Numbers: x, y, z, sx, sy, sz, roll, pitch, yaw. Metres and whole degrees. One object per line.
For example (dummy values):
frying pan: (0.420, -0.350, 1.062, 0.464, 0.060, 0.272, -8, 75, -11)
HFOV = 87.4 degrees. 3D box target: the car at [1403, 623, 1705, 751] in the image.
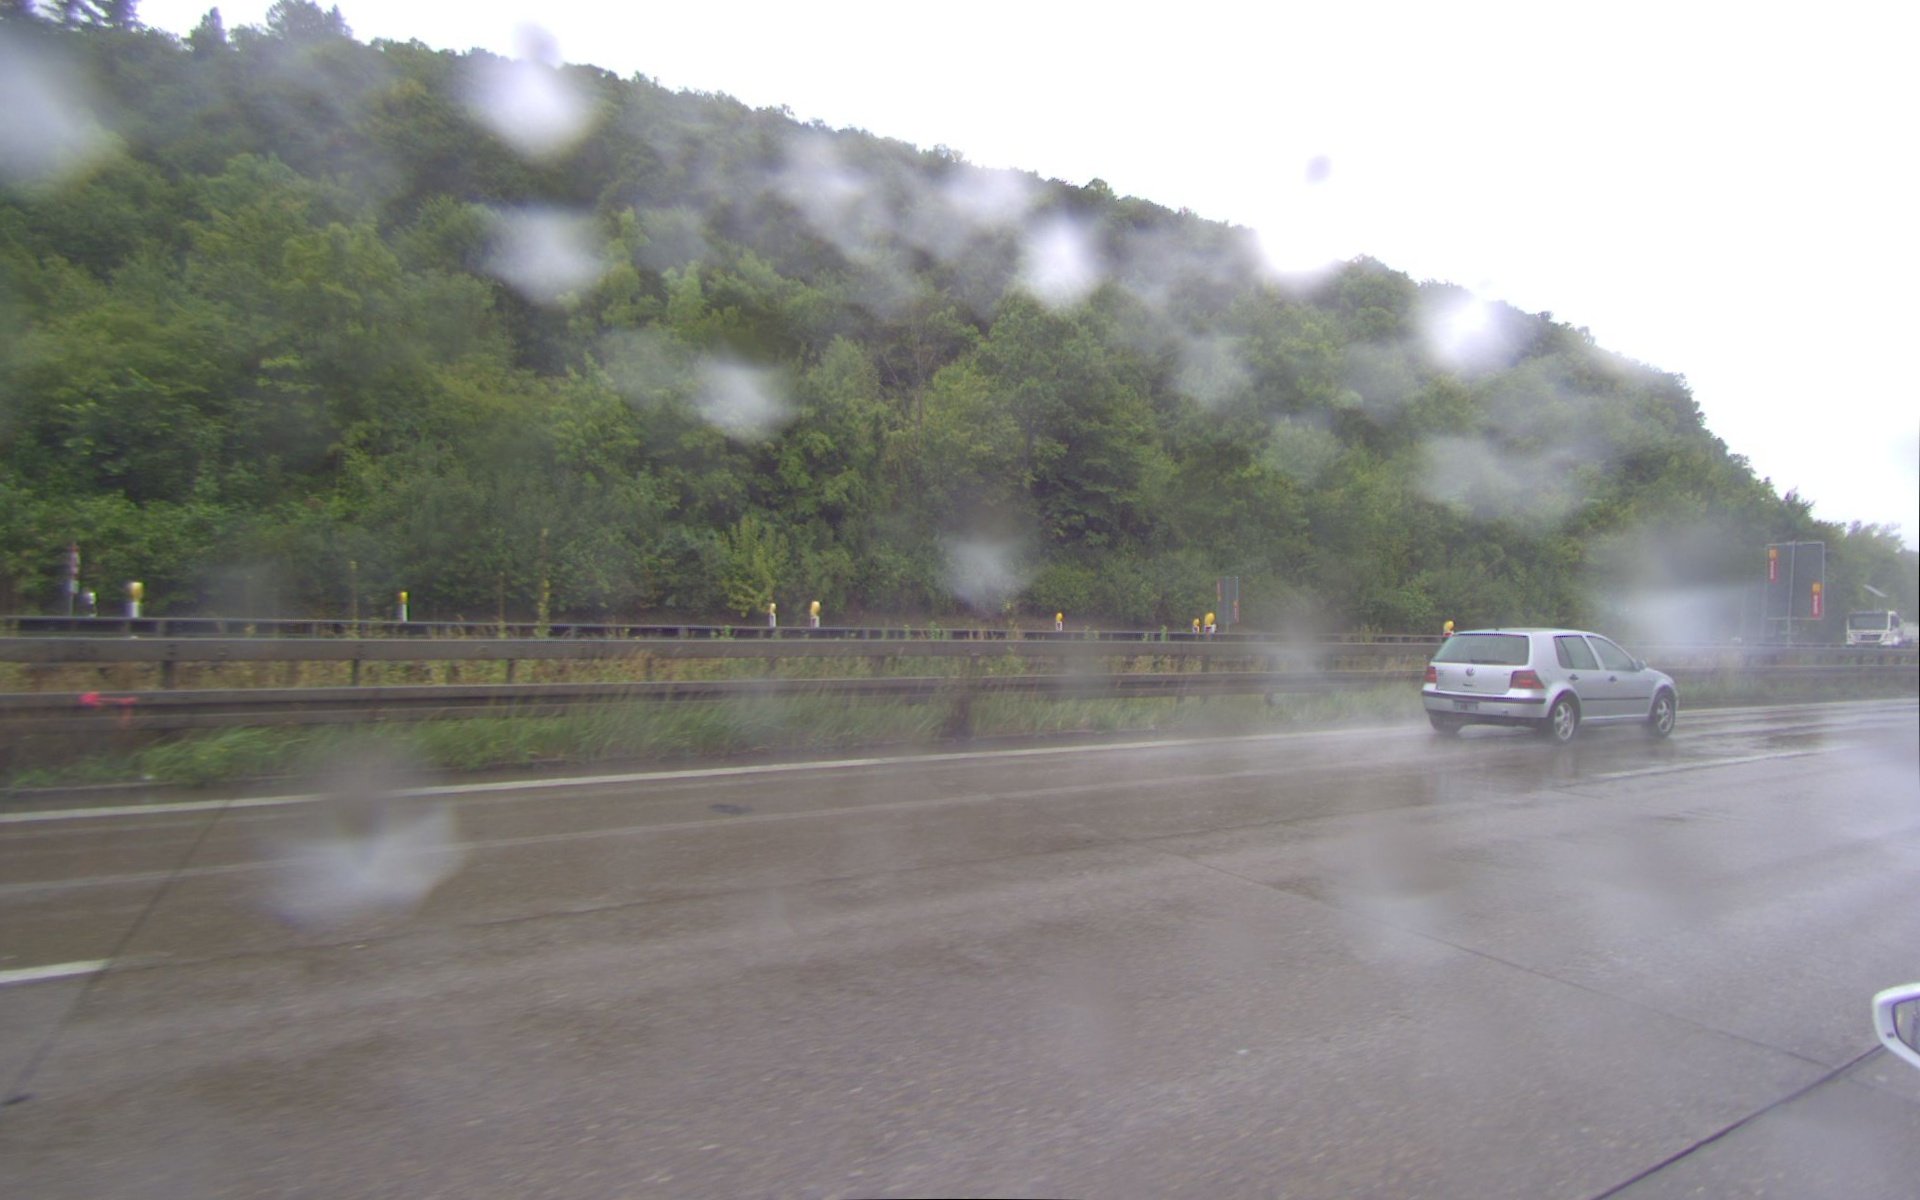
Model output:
car: (8.081, 1.093, 13.568, 4.300, 1.453, 1.659, 2, -1, -31)

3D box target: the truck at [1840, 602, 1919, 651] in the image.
truck: (61.108, 1.758, 66.231, 7.830, 3.059, 2.286, 2, 0, -31)
